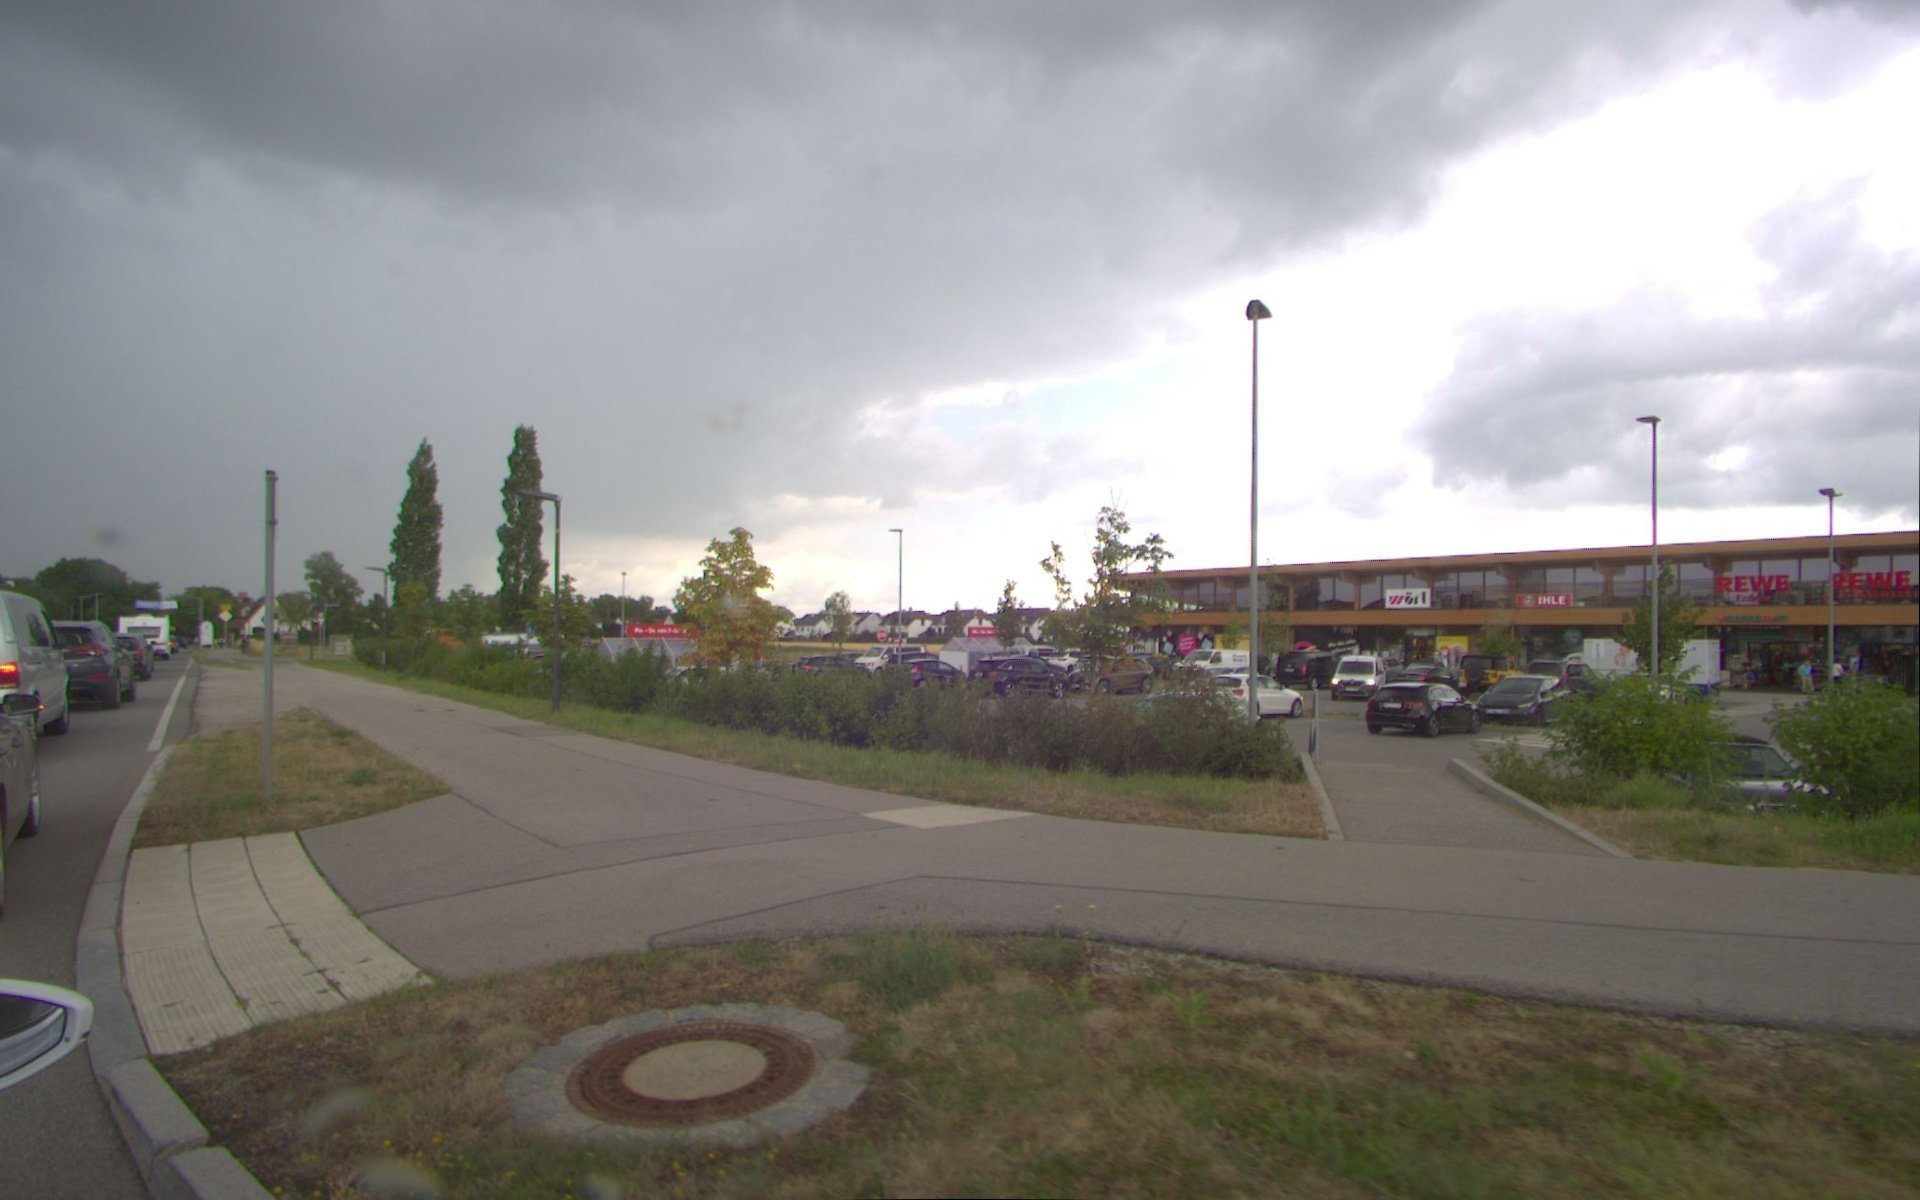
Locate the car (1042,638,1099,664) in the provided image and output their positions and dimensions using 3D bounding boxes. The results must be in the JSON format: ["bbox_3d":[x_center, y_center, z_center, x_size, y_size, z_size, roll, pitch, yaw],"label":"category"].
[{"bbox_3d":[8.237,3.747,74.288,3.948,1.863,1.863,2,-2,-34],"label":"car"}]

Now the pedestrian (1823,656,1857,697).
[{"bbox_3d":[42.085,3.660,47.913,0.910,1.921,0.794,2,-3,2],"label":"pedestrian"}]

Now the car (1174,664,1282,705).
[{"bbox_3d":[11.165,3.466,41.550,4.734,1.503,1.890,2,-3,-38],"label":"car"}]

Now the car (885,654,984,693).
[{"bbox_3d":[-1.167,3.402,47.040,4.367,1.685,1.985,2,-2,-38],"label":"car"}]

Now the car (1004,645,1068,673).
[{"bbox_3d":[5.134,3.953,67.394,3.949,1.861,1.987,2,-3,-35],"label":"car"}]

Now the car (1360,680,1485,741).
[{"bbox_3d":[12.951,3.019,27.960,3.960,1.416,1.820,2,-2,-43],"label":"car"}]

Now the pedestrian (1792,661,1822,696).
[{"bbox_3d":[40.913,3.792,48.355,0.736,1.678,0.805,1,-1,-3],"label":"pedestrian"}]

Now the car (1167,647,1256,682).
[{"bbox_3d":[13.991,3.566,55.506,5.243,1.853,1.985,3,-4,-38],"label":"car"}]

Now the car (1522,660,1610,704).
[{"bbox_3d":[25.317,3.392,41.800,4.075,1.746,1.838,3,-4,-39],"label":"car"}]

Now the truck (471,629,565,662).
[{"bbox_3d":[-26.387,2.737,59.826,4.764,1.895,1.982,3,-3,-42],"label":"truck"}]

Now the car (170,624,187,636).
[{"bbox_3d":[-140.397,5.416,179.920,1.974,2.239,3.976,2,-2,-33],"label":"car"}]

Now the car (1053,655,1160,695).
[{"bbox_3d":[6.704,3.354,45.627,4.933,1.685,1.985,2,-2,-38],"label":"car"}]

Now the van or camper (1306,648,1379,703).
[{"bbox_3d":[16.038,3.101,41.814,1.741,2.124,4.778,0,-2,35],"label":"van or camper"}]

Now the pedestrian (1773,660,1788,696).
[{"bbox_3d":[45.446,4.327,55.469,0.570,1.973,0.522,0,-1,33],"label":"pedestrian"}]

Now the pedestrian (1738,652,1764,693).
[{"bbox_3d":[40.011,3.655,50.651,0.798,2.039,0.923,2,-2,-44],"label":"pedestrian"}]

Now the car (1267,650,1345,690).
[{"bbox_3d":[17.866,3.627,51.637,3.956,1.860,1.985,5,-5,-38],"label":"car"}]

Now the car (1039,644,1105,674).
[{"bbox_3d":[7.306,3.837,65.097,3.949,1.861,1.988,2,-2,-34],"label":"car"}]

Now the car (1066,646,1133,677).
[{"bbox_3d":[8.810,3.888,63.107,3.951,1.860,1.987,3,-3,-35],"label":"car"}]

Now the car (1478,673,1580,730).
[{"bbox_3d":[17.930,3.127,31.468,3.961,1.573,1.715,3,-3,-43],"label":"car"}]

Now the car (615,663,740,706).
[{"bbox_3d":[-10.795,3.185,38.334,4.197,1.458,1.985,2,-3,-38],"label":"car"}]

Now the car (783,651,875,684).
[{"bbox_3d":[-6.995,3.569,53.551,4.518,1.685,1.985,2,-2,-38],"label":"car"}]

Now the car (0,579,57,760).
[{"bbox_3d":[-12.201,0.754,11.970,1.854,1.958,3.966,3,-3,-40],"label":"car"}]

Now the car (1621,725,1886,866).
[{"bbox_3d":[10.930,2.618,14.135,1.552,1.389,3.731,0,-3,15],"label":"car"}]

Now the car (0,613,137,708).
[{"bbox_3d":[-17.025,1.108,19.175,1.761,1.638,3.971,2,-2,-37],"label":"car"}]

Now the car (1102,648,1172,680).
[{"bbox_3d":[10.748,3.841,60.738,3.949,1.861,1.988,2,-2,-34],"label":"car"}]

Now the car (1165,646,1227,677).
[{"bbox_3d":[15.181,3.954,64.357,4.069,1.918,1.783,2,-2,-39],"label":"car"}]

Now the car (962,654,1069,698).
[{"bbox_3d":[2.372,3.187,42.083,4.415,1.727,1.790,3,-3,-38],"label":"car"}]

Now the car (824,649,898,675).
[{"bbox_3d":[-6.097,3.826,62.122,4.274,1.598,1.755,2,-3,-36],"label":"car"}]

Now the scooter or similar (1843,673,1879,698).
[{"bbox_3d":[43.026,4.088,47.832,0.983,1.140,0.795,2,-3,2],"label":"scooter or similar"}]

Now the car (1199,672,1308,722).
[{"bbox_3d":[9.722,3.138,33.029,3.957,1.503,1.668,4,-4,-42],"label":"car"}]

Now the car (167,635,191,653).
[{"bbox_3d":[-73.615,4.155,94.393,1.599,1.651,3.590,2,-3,-36],"label":"car"}]

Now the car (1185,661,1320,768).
[{"bbox_3d":[4.175,1.535,14.033,1.551,1.221,3.753,1,-4,19],"label":"car"}]

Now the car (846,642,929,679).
[{"bbox_3d":[-4.319,3.581,60.259,1.977,2.040,5.084,0,-1,42],"label":"car"}]

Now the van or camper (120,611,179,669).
[{"bbox_3d":[-49.826,2.520,61.682,2.603,3.364,6.771,2,-3,-38],"label":"van or camper"}]

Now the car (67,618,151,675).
[{"bbox_3d":[-26.199,1.417,30.929,1.761,1.638,3.971,1,-2,-37],"label":"car"}]

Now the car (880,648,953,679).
[{"bbox_3d":[-2.472,3.642,57.446,3.955,1.727,1.703,3,-3,-38],"label":"car"}]

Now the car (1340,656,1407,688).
[{"bbox_3d":[22.618,3.914,54.743,4.183,1.632,1.752,3,-3,-41],"label":"car"}]

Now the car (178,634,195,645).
[{"bbox_3d":[-96.247,4.908,124.627,1.599,1.288,3.437,2,-3,-36],"label":"car"}]

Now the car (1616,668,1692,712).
[{"bbox_3d":[27.459,3.514,39.568,3.961,1.549,1.715,2,-3,-43],"label":"car"}]

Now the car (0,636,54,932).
[{"bbox_3d":[-6.151,0.901,5.310,1.770,1.409,4.099,2,-3,-40],"label":"car"}]

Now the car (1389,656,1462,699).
[{"bbox_3d":[21.880,3.612,46.995,3.960,1.878,1.756,3,-3,-42],"label":"car"}]

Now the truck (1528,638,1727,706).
[{"bbox_3d":[30.710,3.227,46.308,2.947,2.843,7.192,2,-3,-42],"label":"truck"}]

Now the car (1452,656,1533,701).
[{"bbox_3d":[23.787,3.472,44.659,3.954,1.878,1.759,3,-3,-38],"label":"car"}]

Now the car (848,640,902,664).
[{"bbox_3d":[-6.987,4.240,81.954,3.949,1.861,1.988,2,-2,-34],"label":"car"}]
